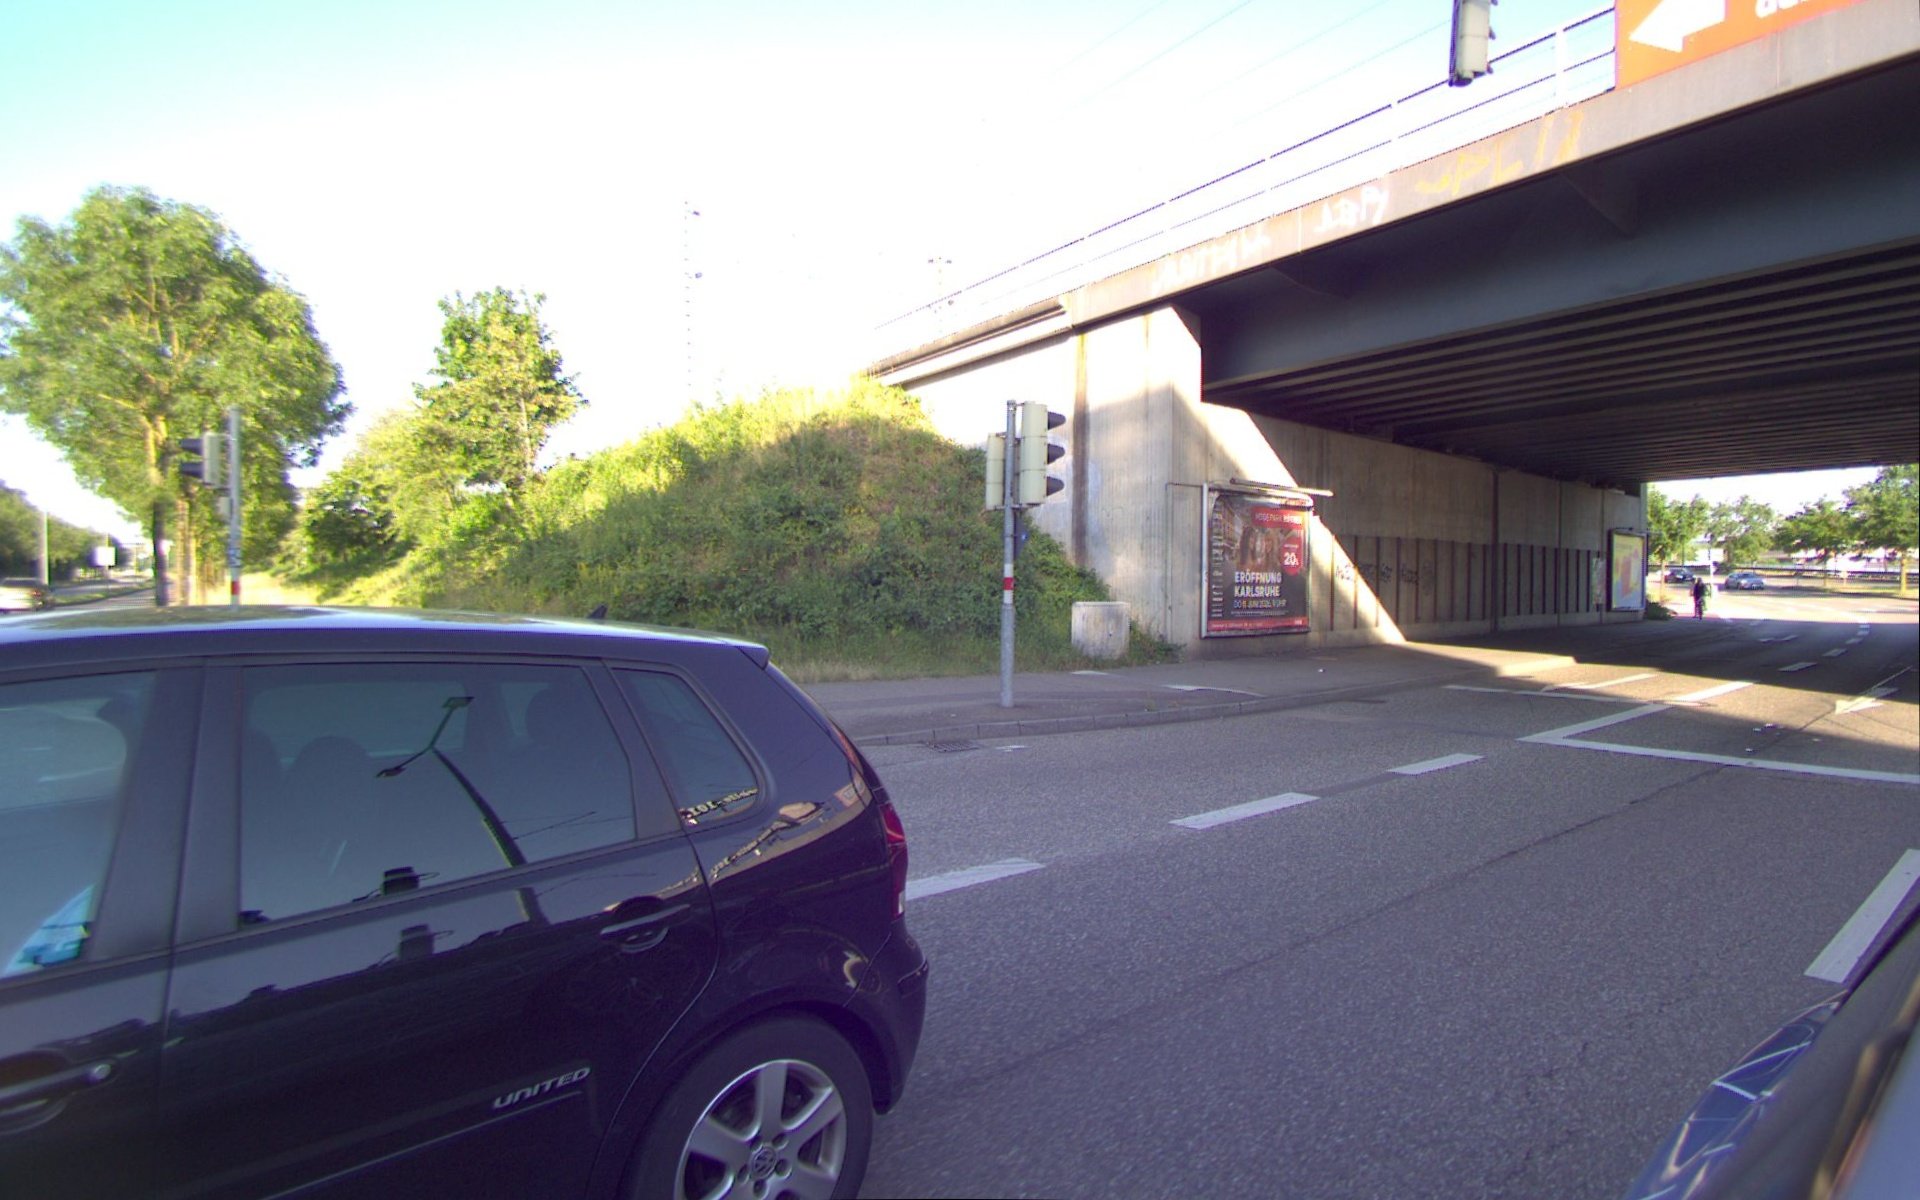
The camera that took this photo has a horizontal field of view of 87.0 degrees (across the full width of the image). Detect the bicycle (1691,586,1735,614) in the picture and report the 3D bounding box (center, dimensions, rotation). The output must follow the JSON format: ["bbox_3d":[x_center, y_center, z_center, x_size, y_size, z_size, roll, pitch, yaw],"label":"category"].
[{"bbox_3d":[30.734,-0.005,41.342,0.773,1.070,2.479,-1,1,21],"label":"bicycle"}]

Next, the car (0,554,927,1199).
[{"bbox_3d":[-1.980,0.668,1.756,3.619,1.427,1.619,-2,1,-41],"label":"car"}]

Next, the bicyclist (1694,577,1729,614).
[{"bbox_3d":[30.676,-0.192,41.330,0.833,1.439,1.106,-1,0,22],"label":"bicyclist"}]

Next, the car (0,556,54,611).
[{"bbox_3d":[-39.910,-0.662,42.849,1.964,2.206,3.996,-2,1,-38],"label":"car"}]
